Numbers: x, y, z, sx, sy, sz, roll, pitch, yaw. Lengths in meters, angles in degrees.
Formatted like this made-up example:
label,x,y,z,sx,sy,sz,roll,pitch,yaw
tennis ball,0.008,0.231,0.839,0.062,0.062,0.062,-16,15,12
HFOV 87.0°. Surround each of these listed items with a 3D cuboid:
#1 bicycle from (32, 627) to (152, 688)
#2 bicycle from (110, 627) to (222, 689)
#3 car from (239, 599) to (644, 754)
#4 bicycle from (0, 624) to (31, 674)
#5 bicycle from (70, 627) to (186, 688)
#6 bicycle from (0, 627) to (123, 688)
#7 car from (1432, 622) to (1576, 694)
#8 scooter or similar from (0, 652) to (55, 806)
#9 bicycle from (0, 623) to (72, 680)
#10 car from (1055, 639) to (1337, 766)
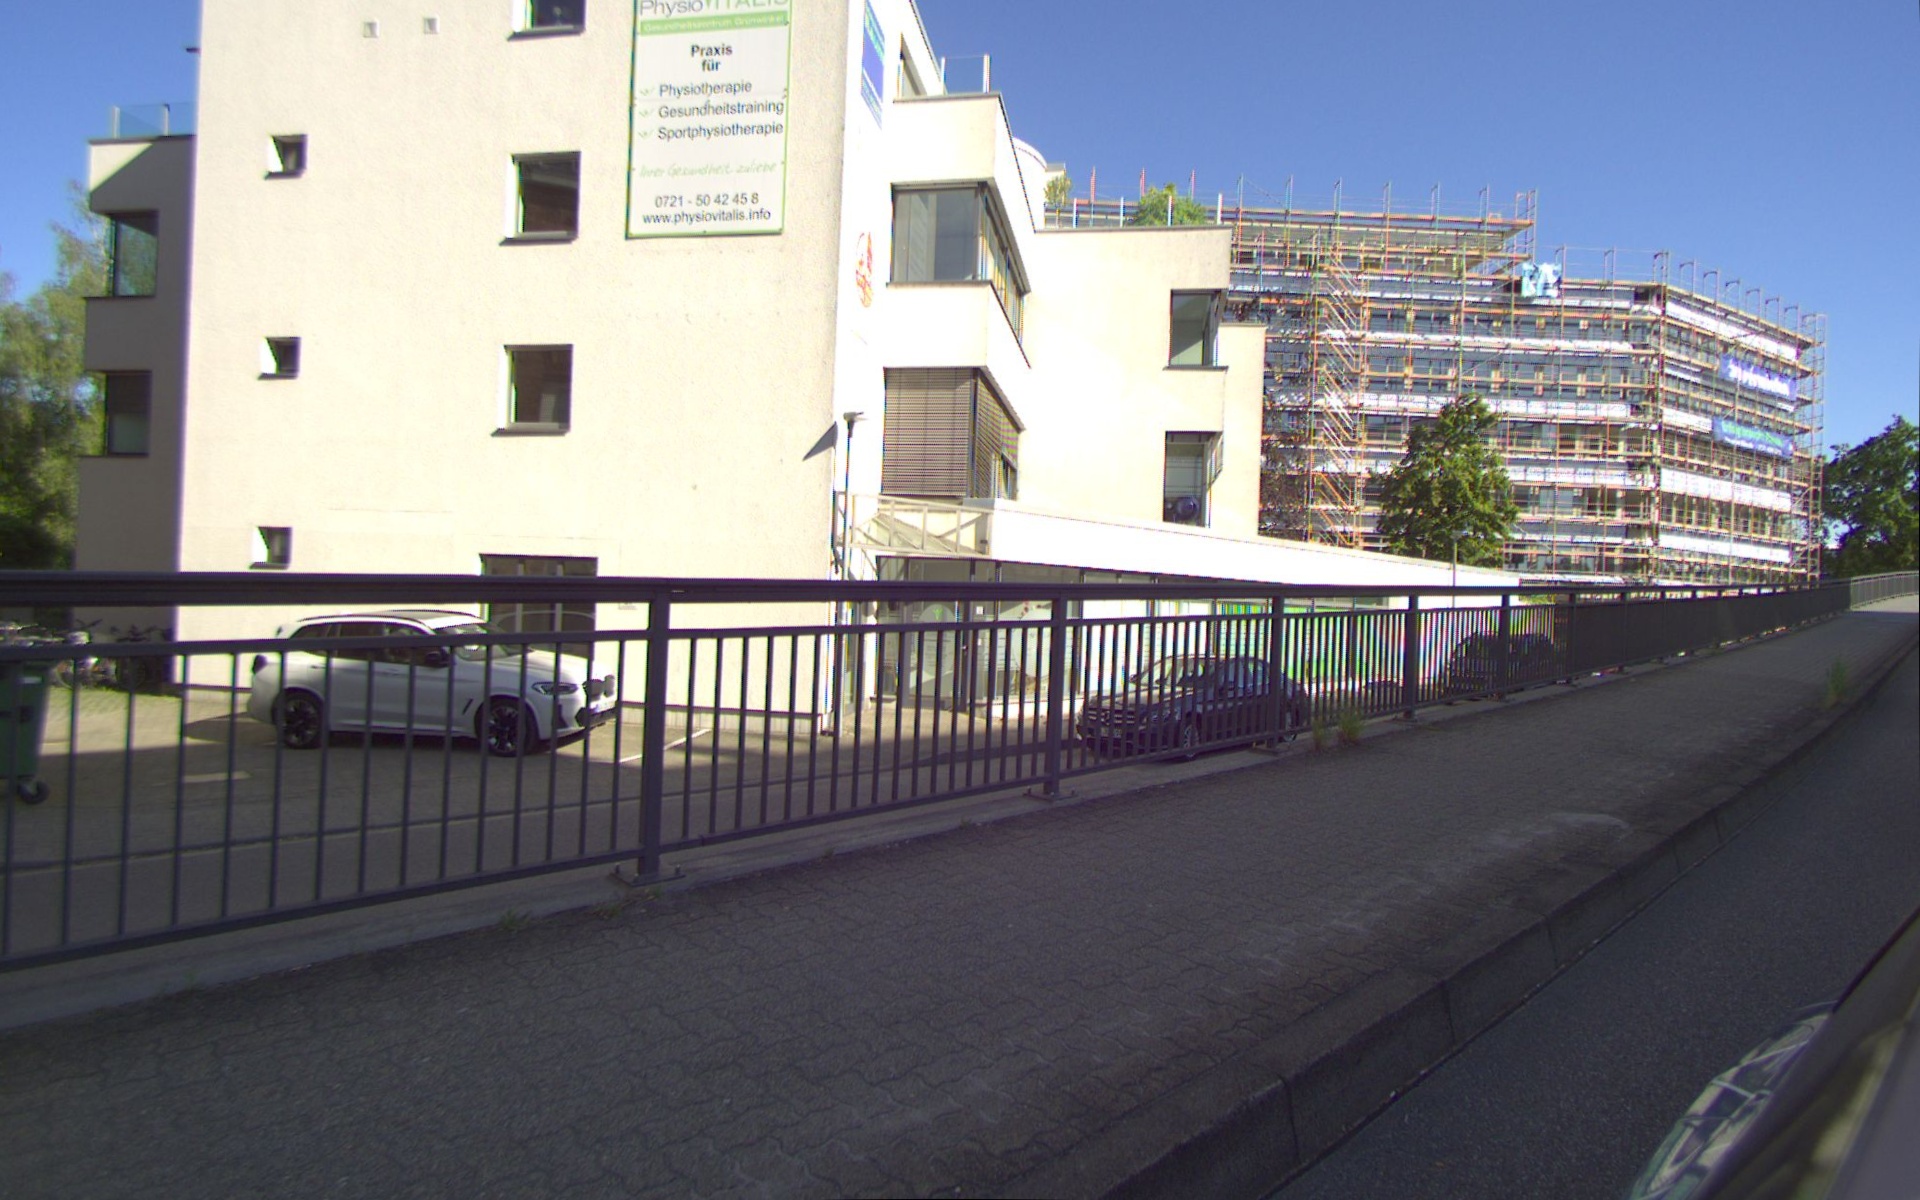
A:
label,x,y,z,sx,sy,sz,roll,pitch,yaw
bicycle,-15.957,1.038,18.679,0.485,0.897,2.053,1,3,-1
bicycle,-14.560,1.036,18.635,0.485,0.897,2.053,1,3,-1
car,-6.692,0.910,13.267,4.572,1.789,1.824,0,1,9
bicycle,-18.525,0.969,18.907,0.485,0.897,2.053,1,3,-1
bicycle,-15.321,1.026,18.704,0.485,0.897,2.053,1,3,-1
bicycle,-16.521,1.029,18.679,0.485,0.897,2.053,1,3,-1
car,13.571,1.380,25.184,3.930,1.554,1.848,2,1,-41
scooter or similar,-8.488,1.091,8.792,1.457,1.235,0.773,-1,-2,43
bicycle,-17.599,0.962,18.761,0.485,0.897,2.053,1,3,-1
car,3.740,1.441,15.560,4.599,1.448,1.848,-1,1,-40
